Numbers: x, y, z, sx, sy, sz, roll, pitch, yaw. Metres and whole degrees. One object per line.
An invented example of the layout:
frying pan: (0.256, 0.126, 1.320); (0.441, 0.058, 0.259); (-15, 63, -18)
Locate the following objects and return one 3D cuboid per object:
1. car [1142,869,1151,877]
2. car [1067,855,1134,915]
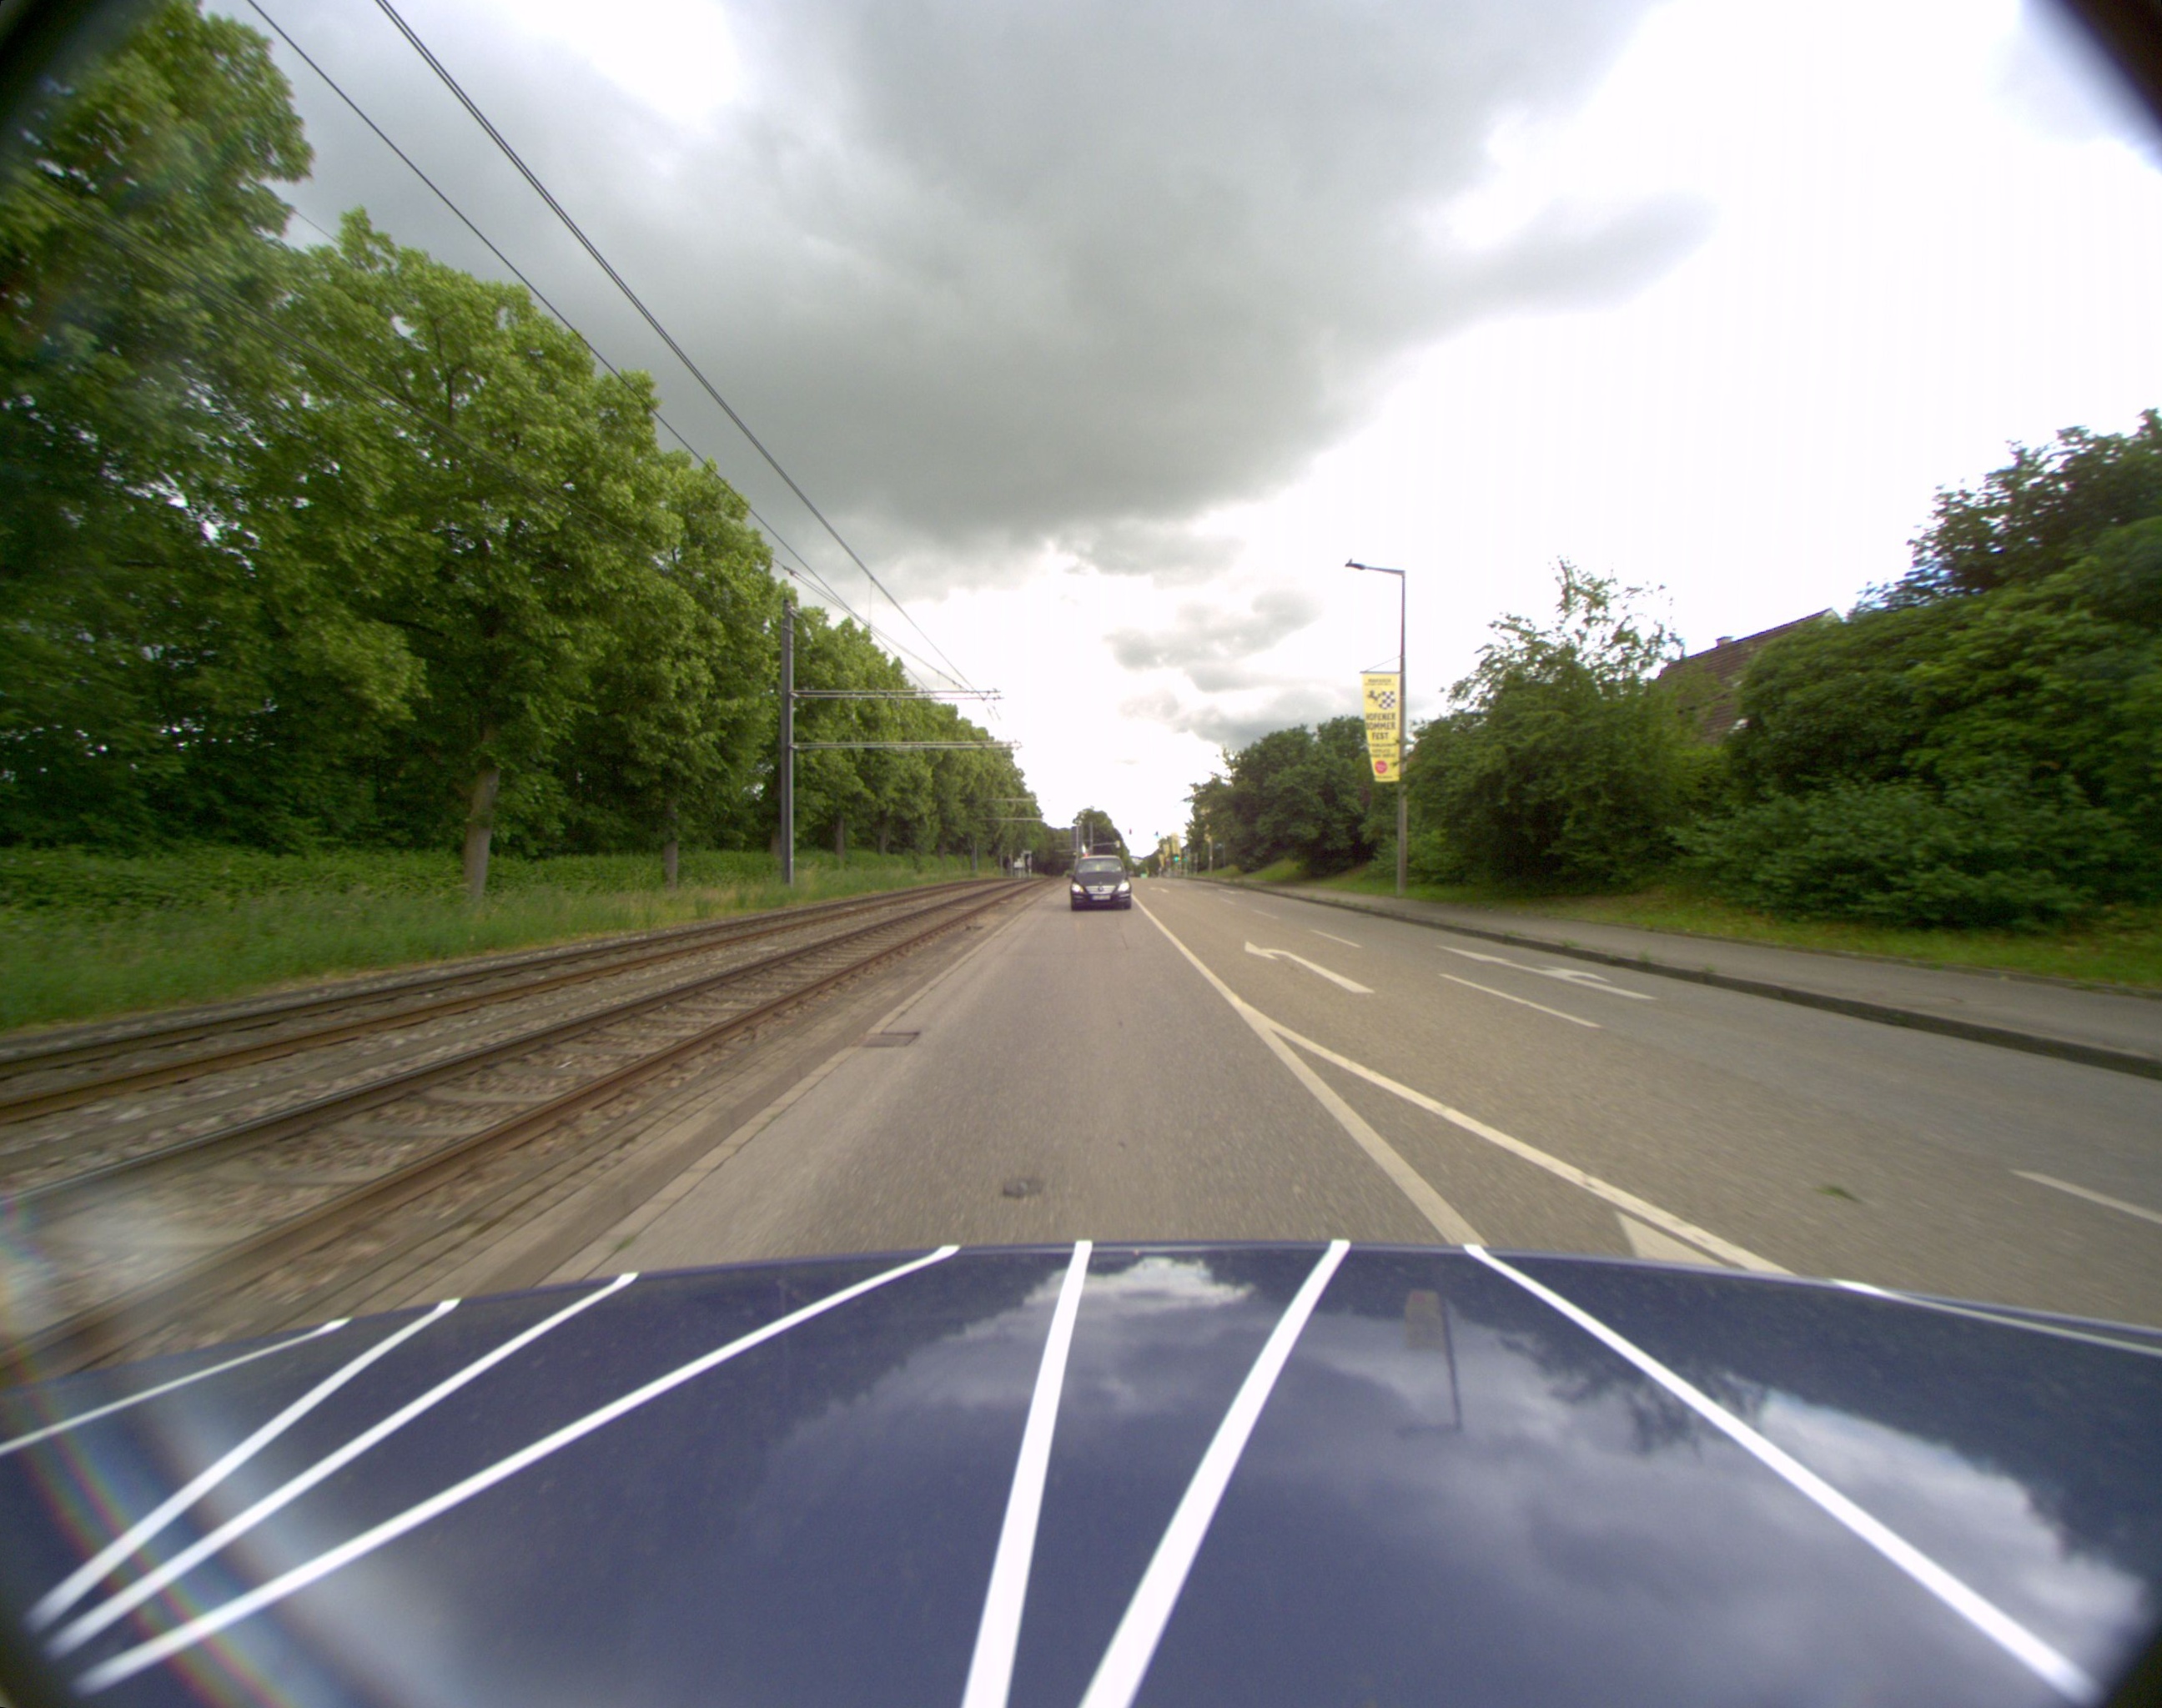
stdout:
car: (16.226, 4.795, 189.761); (2.063, 1.799, 4.732); (1, -1, 3)
car: (0.643, 0.827, 22.140); (1.749, 1.558, 4.122); (-1, 0, 3)
